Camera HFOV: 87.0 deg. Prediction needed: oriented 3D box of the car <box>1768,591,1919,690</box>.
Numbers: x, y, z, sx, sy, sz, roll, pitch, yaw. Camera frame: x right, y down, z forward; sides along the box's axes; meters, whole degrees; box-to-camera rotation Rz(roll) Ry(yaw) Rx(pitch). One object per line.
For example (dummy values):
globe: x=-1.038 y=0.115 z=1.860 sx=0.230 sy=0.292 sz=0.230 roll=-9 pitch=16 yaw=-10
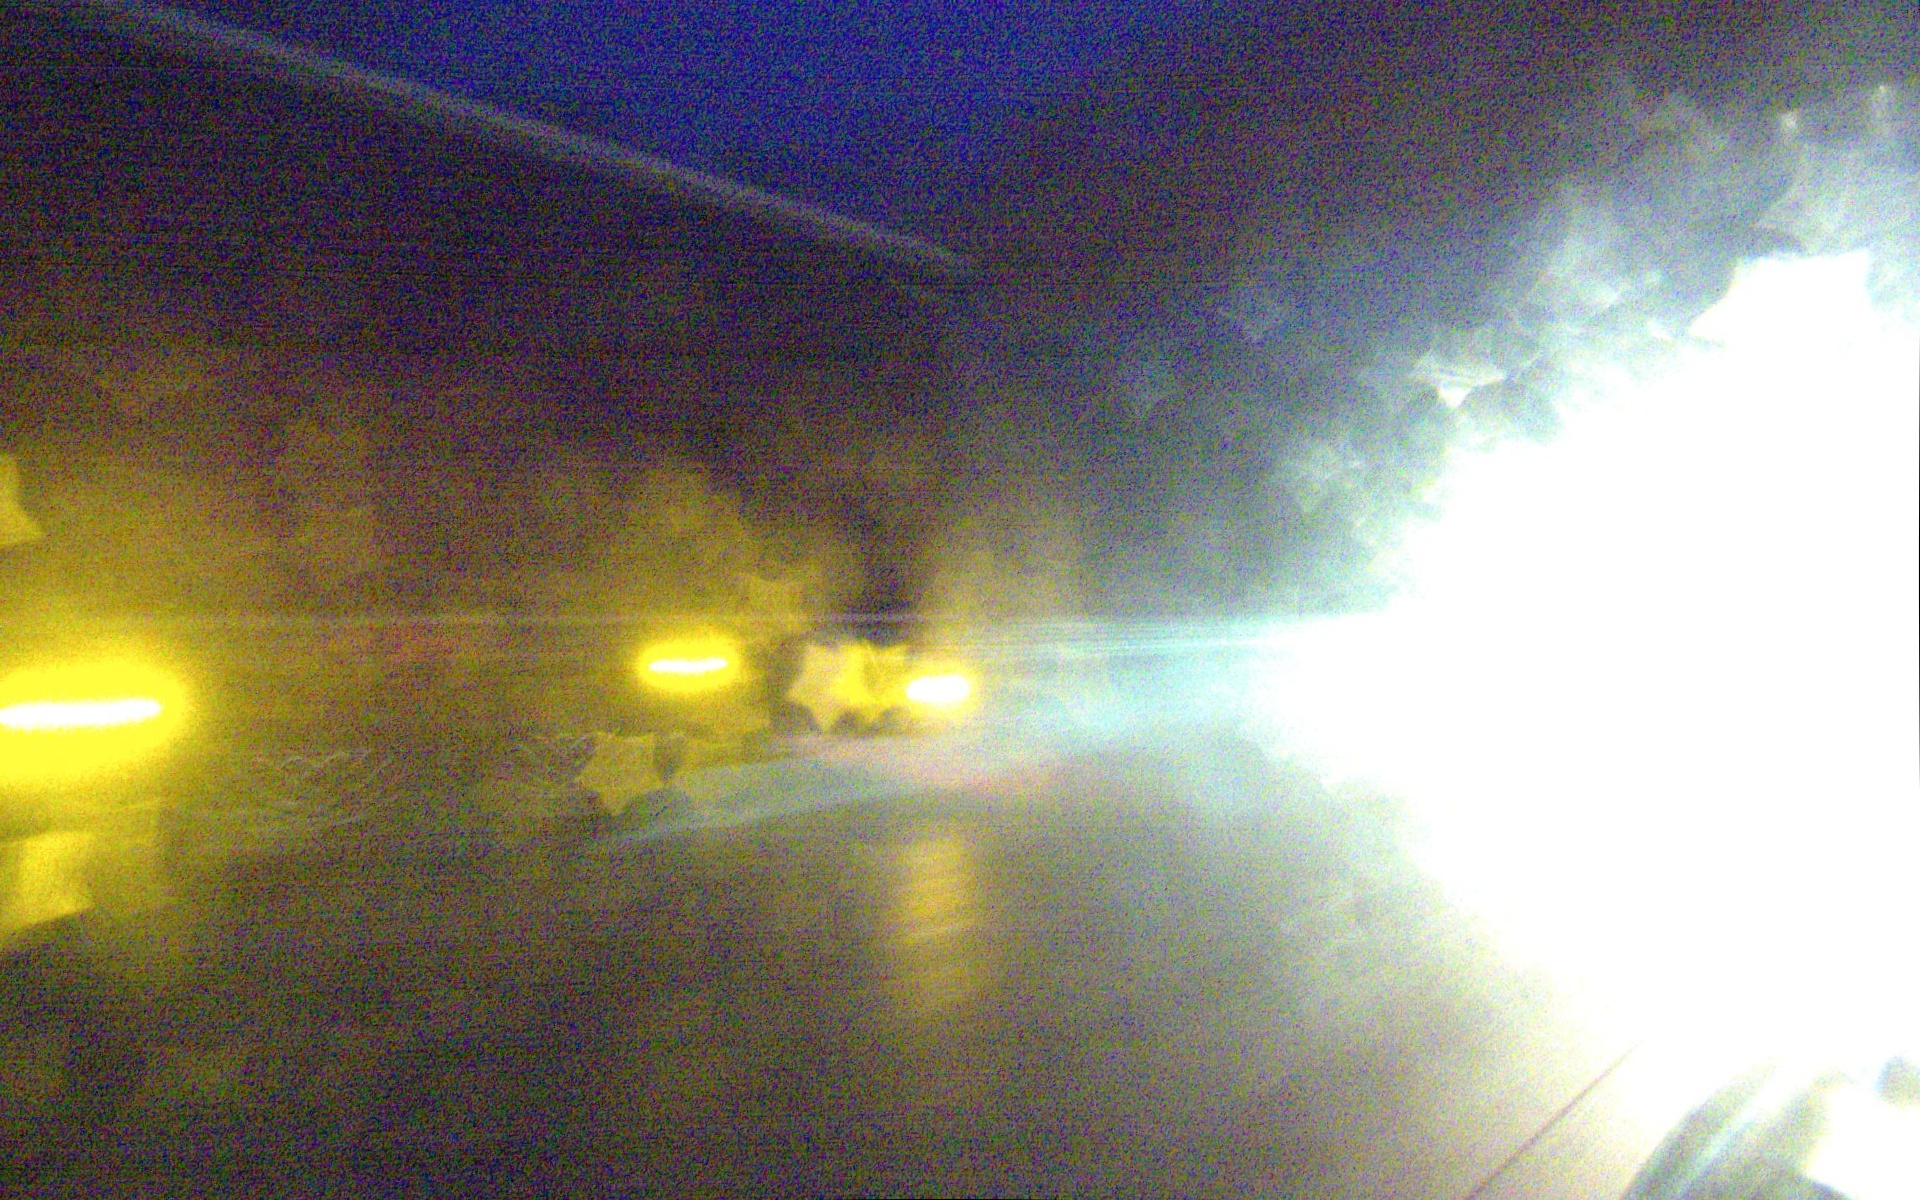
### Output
car: x=15.501 y=0.621 z=17.678 sx=3.704 sy=1.522 sz=1.617 roll=-1 pitch=0 yaw=-43

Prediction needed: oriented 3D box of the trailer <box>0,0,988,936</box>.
trailer: x=-5.812 y=-0.769 z=3.991 sx=13.401 sy=4.149 sz=2.870 roll=-1 pitch=0 yaw=-41

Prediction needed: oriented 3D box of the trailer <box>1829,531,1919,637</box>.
trailer: x=41.419 y=-0.657 z=44.850 sx=10.982 sy=4.246 sz=2.751 roll=0 pitch=0 yaw=-41

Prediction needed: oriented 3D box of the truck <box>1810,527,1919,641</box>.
truck: x=36.670 y=-0.622 z=40.760 sx=5.910 sy=4.246 sz=2.776 roll=0 pitch=0 yaw=-40
